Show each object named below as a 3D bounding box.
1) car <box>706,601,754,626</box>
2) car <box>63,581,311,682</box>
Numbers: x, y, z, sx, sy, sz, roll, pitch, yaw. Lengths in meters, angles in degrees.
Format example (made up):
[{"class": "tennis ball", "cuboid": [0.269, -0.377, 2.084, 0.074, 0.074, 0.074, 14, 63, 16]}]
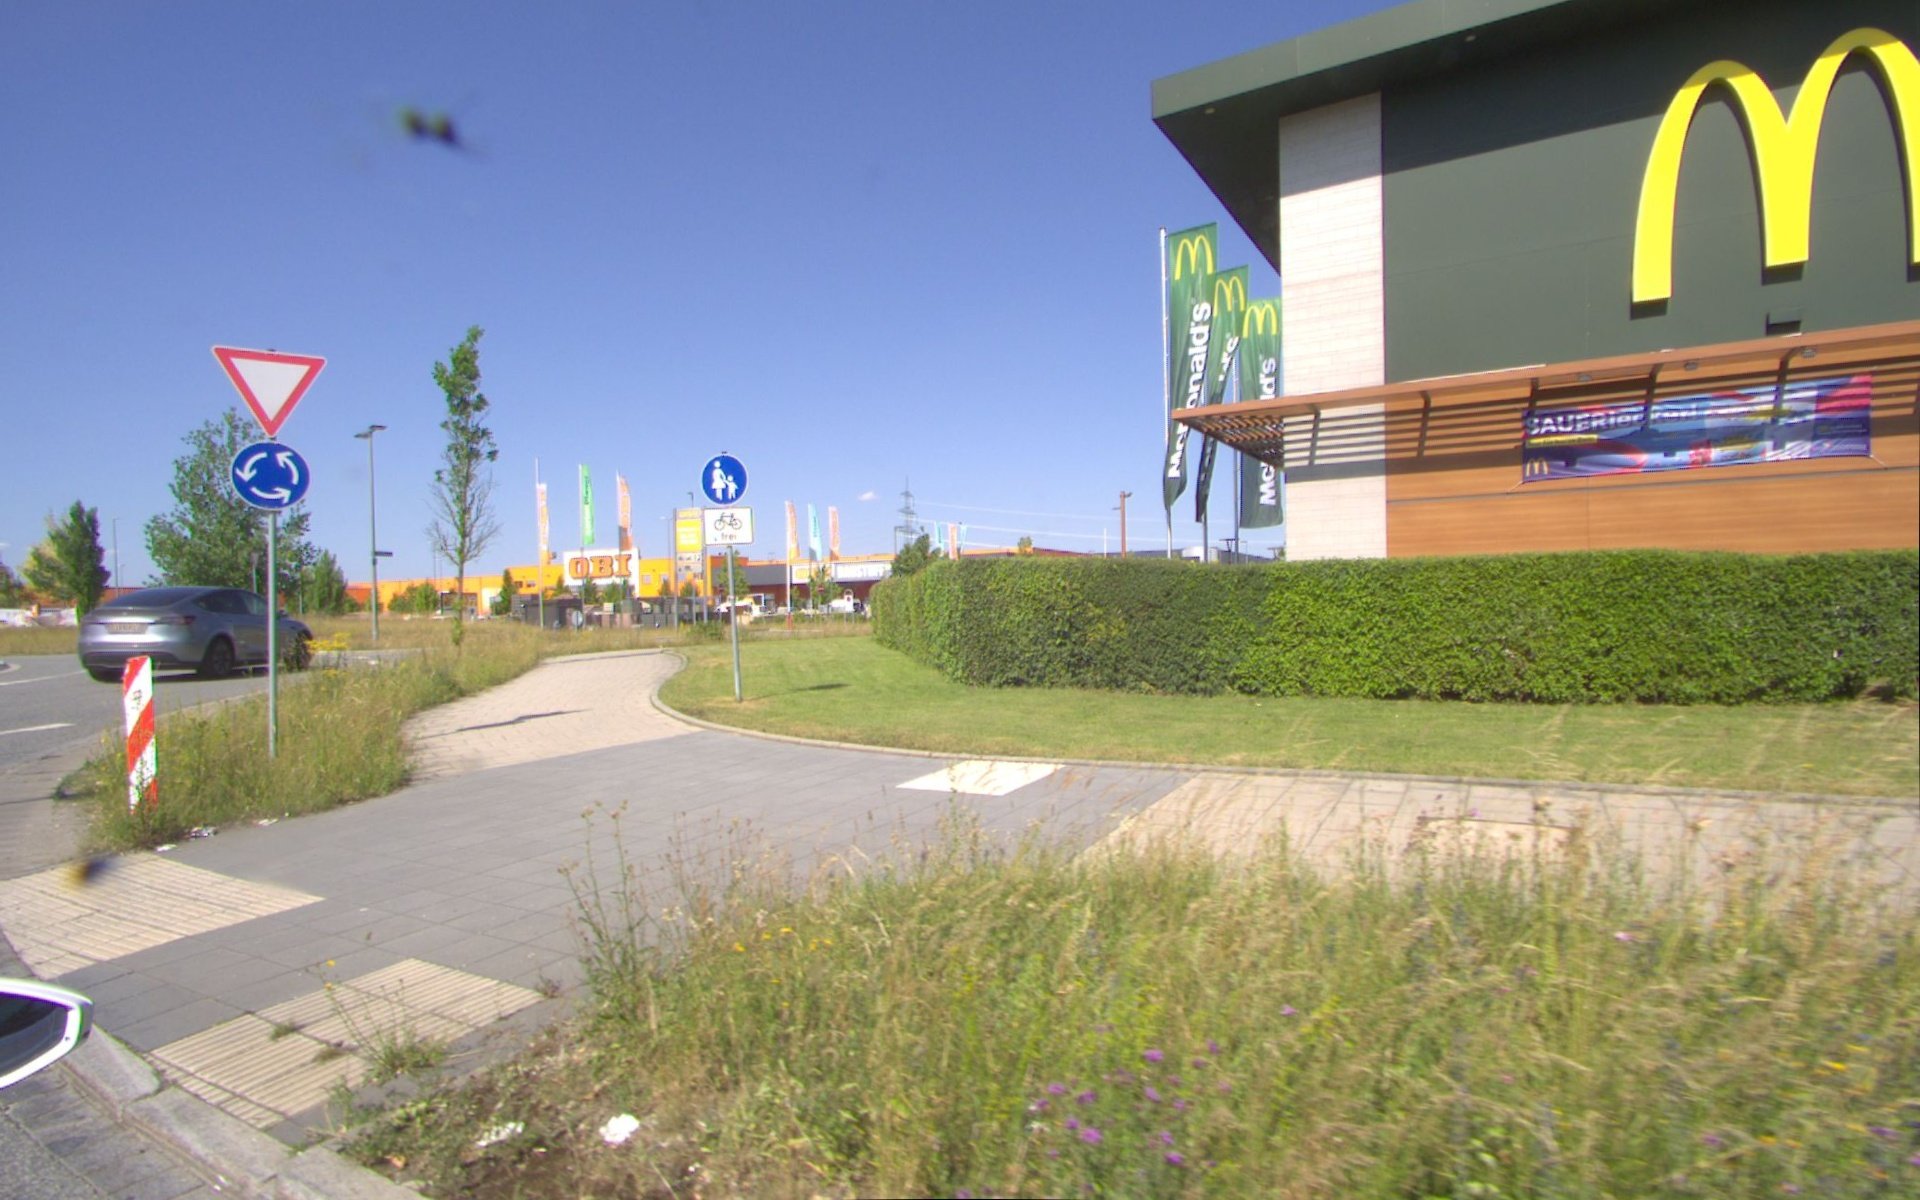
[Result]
[{"class": "car", "cuboid": [-18.200, 1.080, 79.371, 1.673, 1.864, 3.763, -1, -2, 26]}, {"class": "car", "cuboid": [-13.790, 0.518, 18.219, 1.797, 1.605, 4.164, -1, 0, -10]}]
